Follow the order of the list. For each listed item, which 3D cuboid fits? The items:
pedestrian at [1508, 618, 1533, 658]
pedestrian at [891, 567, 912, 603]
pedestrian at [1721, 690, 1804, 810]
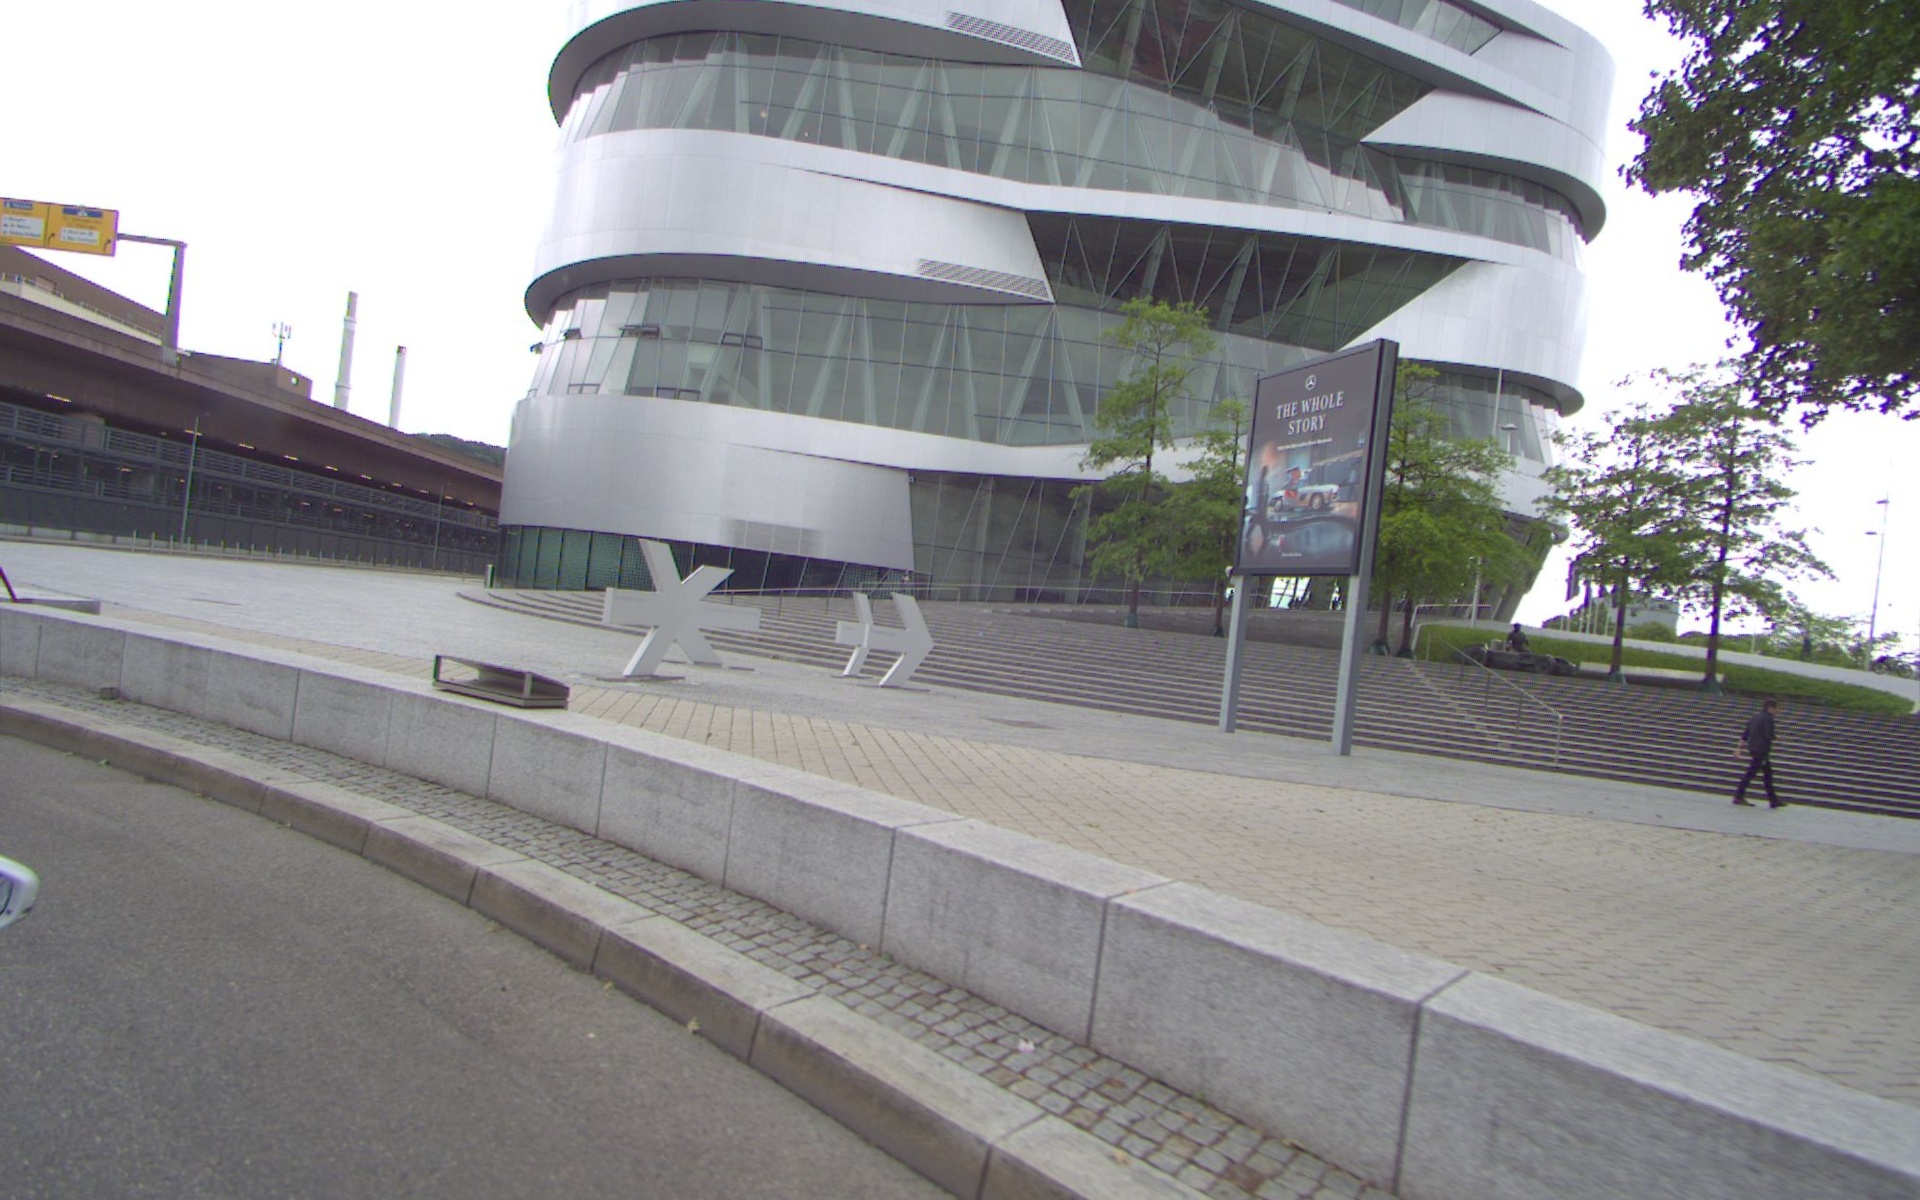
[{"bbox_3d":[18.923,1.279,33.960,0.494,1.284,0.618,6,-1,13],"label":"pedestrian"},{"bbox_3d":[-3.126,-0.821,53.774,0.710,1.844,0.617,7,-1,-37],"label":"pedestrian"},{"bbox_3d":[13.211,2.450,16.577,0.613,1.844,0.714,6,-1,-15],"label":"pedestrian"}]
